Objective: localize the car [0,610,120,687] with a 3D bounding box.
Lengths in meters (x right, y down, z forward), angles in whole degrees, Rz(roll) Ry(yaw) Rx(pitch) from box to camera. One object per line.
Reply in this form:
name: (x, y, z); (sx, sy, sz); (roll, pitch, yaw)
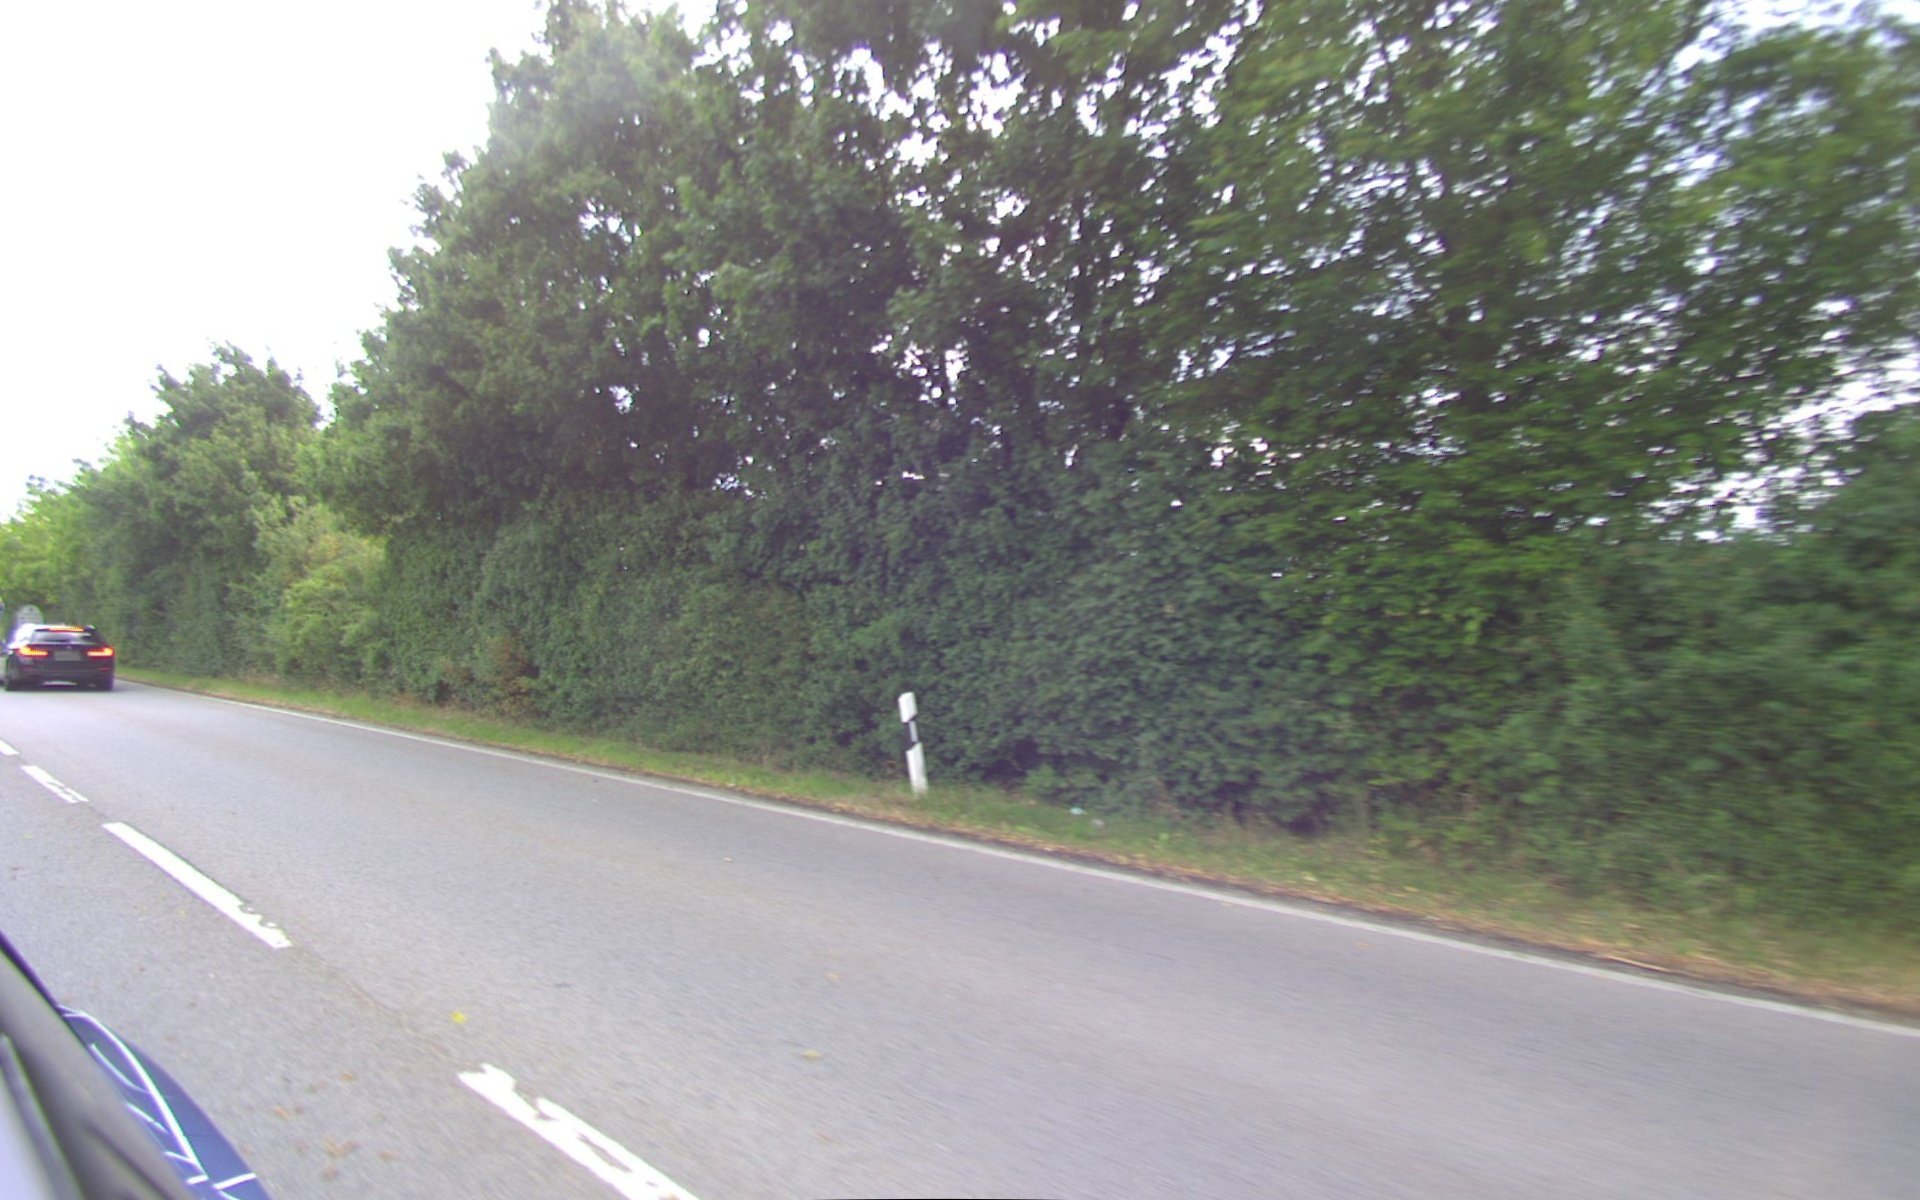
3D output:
car: (-21.236, 1.080, 23.365); (4.551, 1.598, 1.921); (-1, -3, 39)
